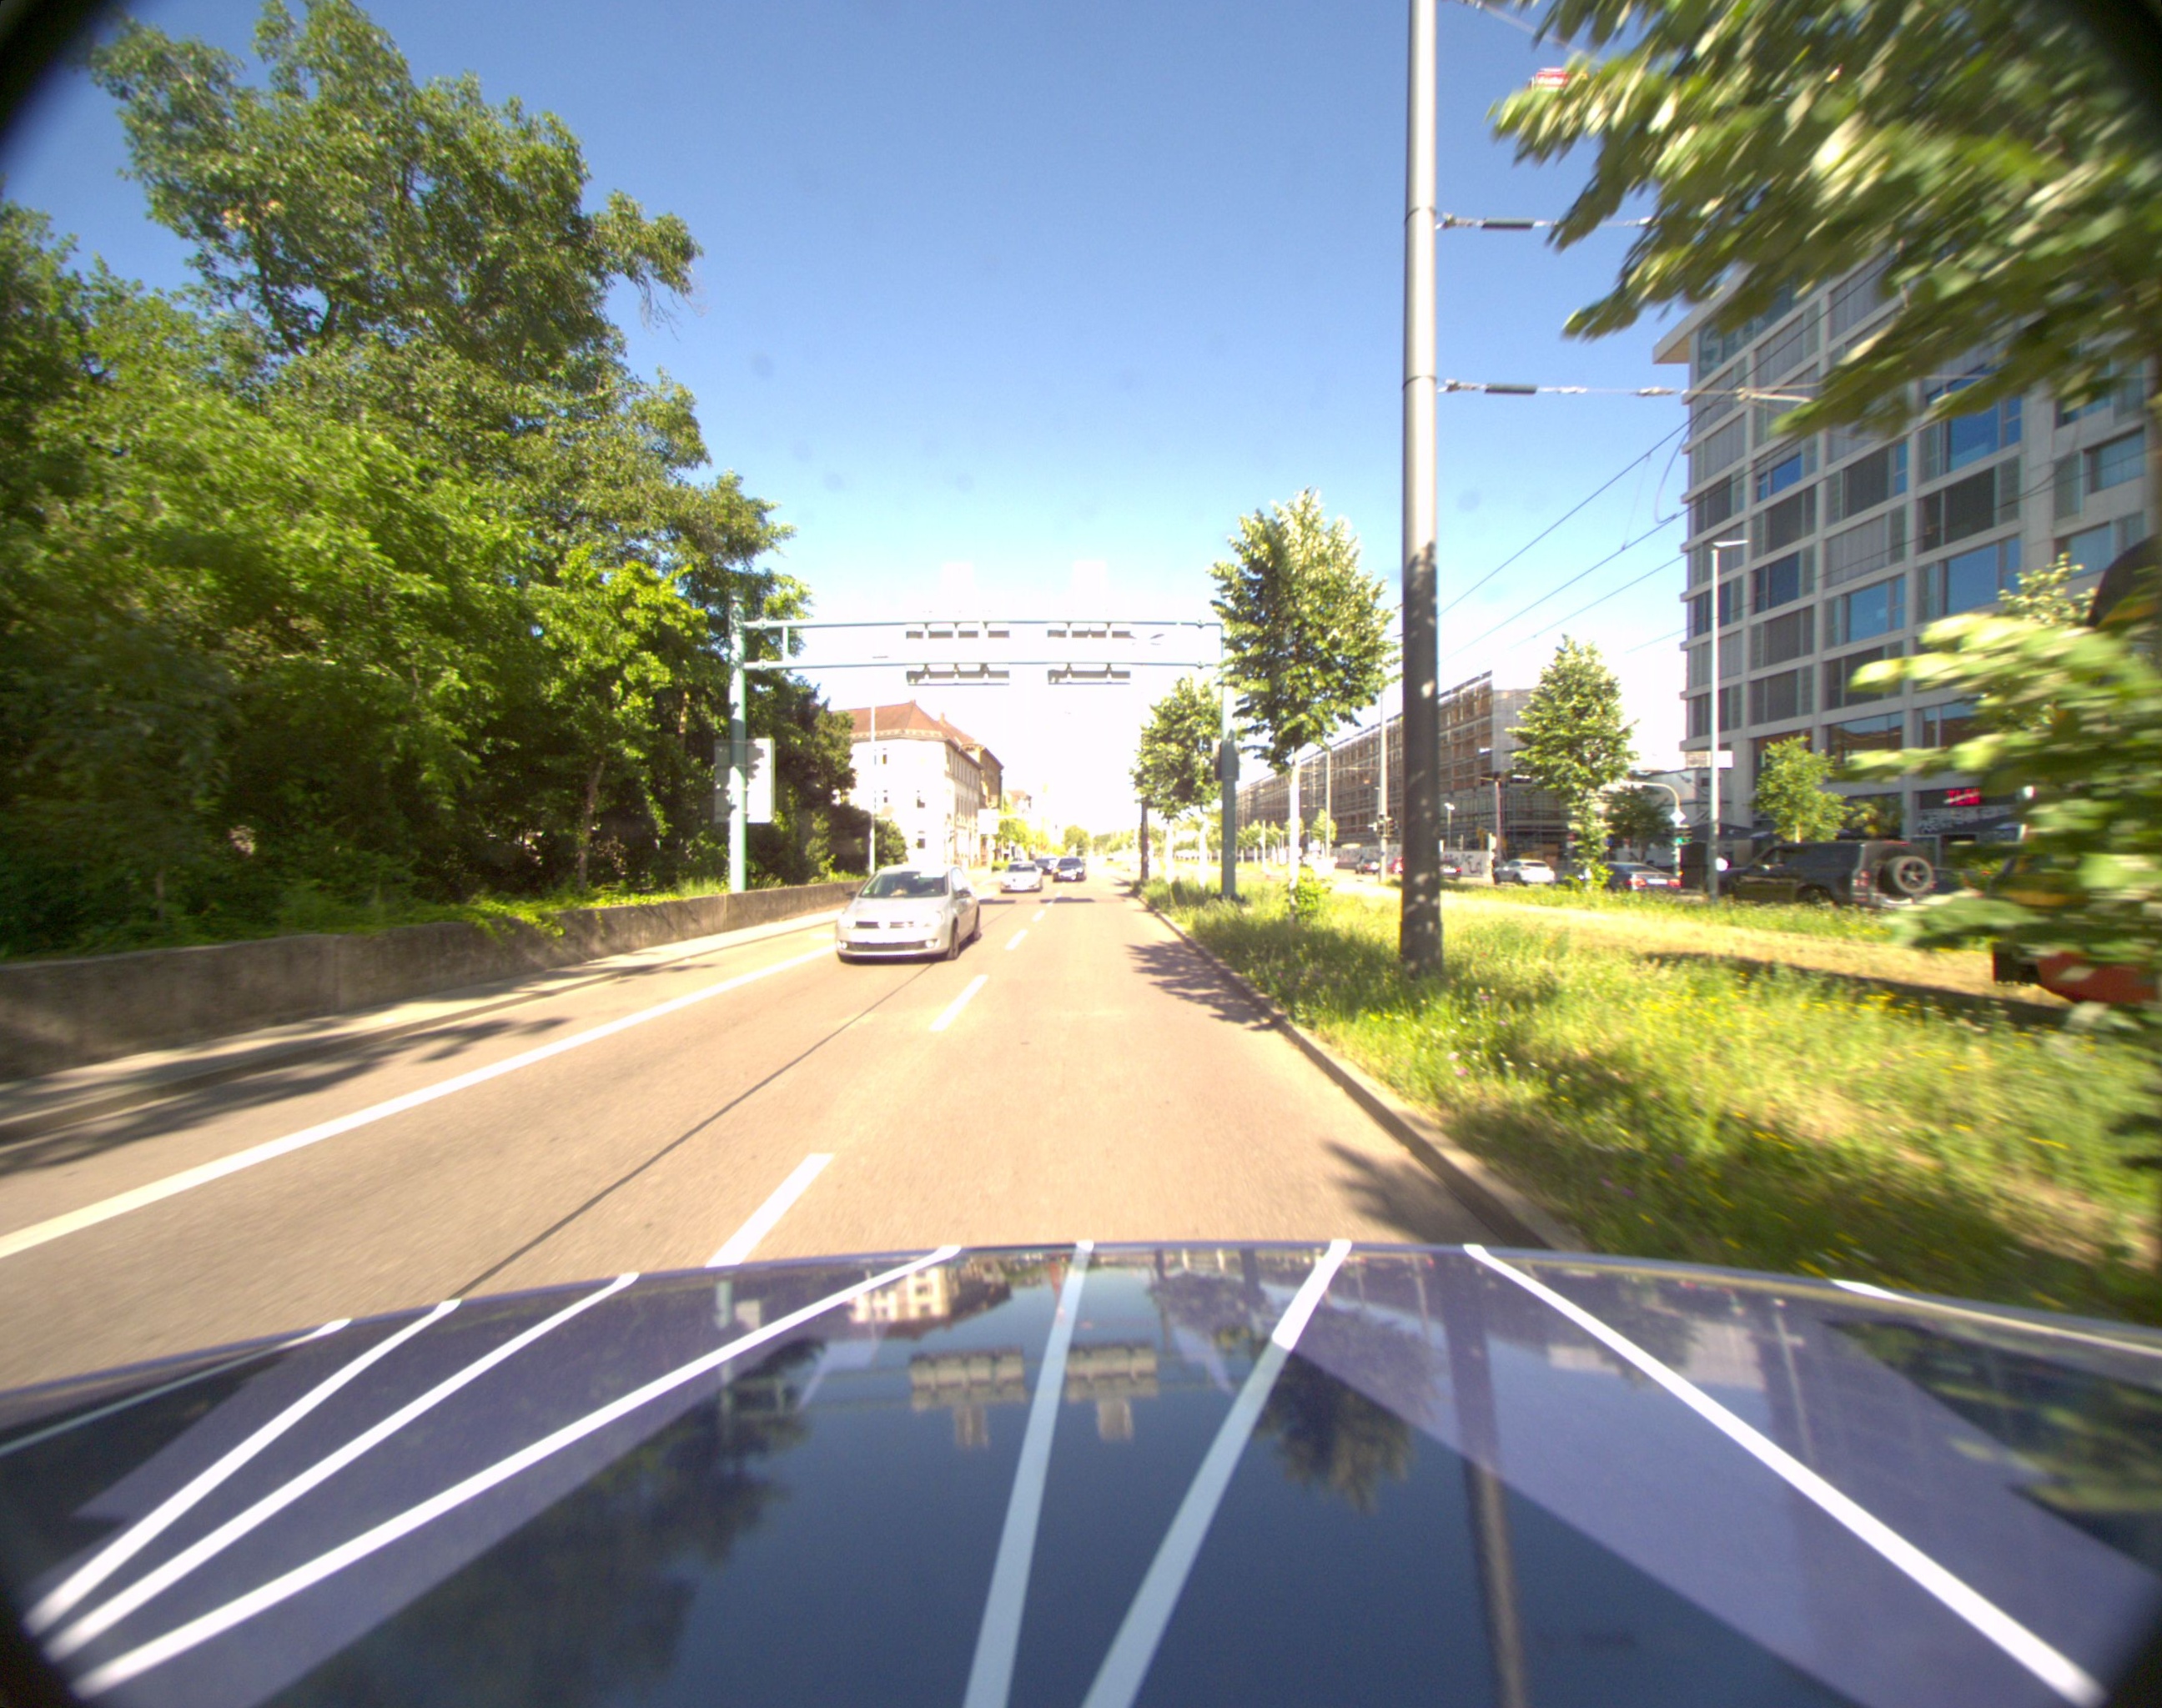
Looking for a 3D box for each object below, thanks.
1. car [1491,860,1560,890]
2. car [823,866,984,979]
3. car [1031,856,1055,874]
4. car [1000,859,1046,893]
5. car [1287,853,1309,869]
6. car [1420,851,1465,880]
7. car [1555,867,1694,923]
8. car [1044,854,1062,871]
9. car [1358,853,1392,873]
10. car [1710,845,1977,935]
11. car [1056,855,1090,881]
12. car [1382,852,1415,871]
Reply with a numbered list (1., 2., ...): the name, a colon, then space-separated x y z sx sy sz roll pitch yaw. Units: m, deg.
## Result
1. car: 24.681 1.133 42.333 1.742 1.537 4.001 -1 0 5
2. car: -2.749 0.992 12.675 1.703 1.466 4.000 -1 0 0
3. car: -3.168 0.883 63.766 1.703 1.415 4.000 -1 0 0
4. car: -2.654 1.005 35.624 1.839 1.415 4.000 -1 0 0
5. car: 28.255 0.917 99.023 1.998 2.002 4.001 -1 0 5
6. car: 22.451 0.669 47.311 1.775 1.664 3.893 -1 0 15
7. car: 17.590 1.278 24.852 1.729 1.543 4.000 -1 0 1
8. car: -2.863 0.867 79.283 1.703 1.622 4.000 -1 0 0
9. car: 25.179 0.757 65.289 1.888 1.565 4.002 -1 0 9
10. car: 17.383 0.722 17.696 1.998 1.808 4.286 -1 0 2
11. car: -0.524 0.804 46.668 1.999 1.493 3.999 0 0 -2
12. car: 28.718 0.650 68.835 1.888 1.565 4.002 -1 0 9
